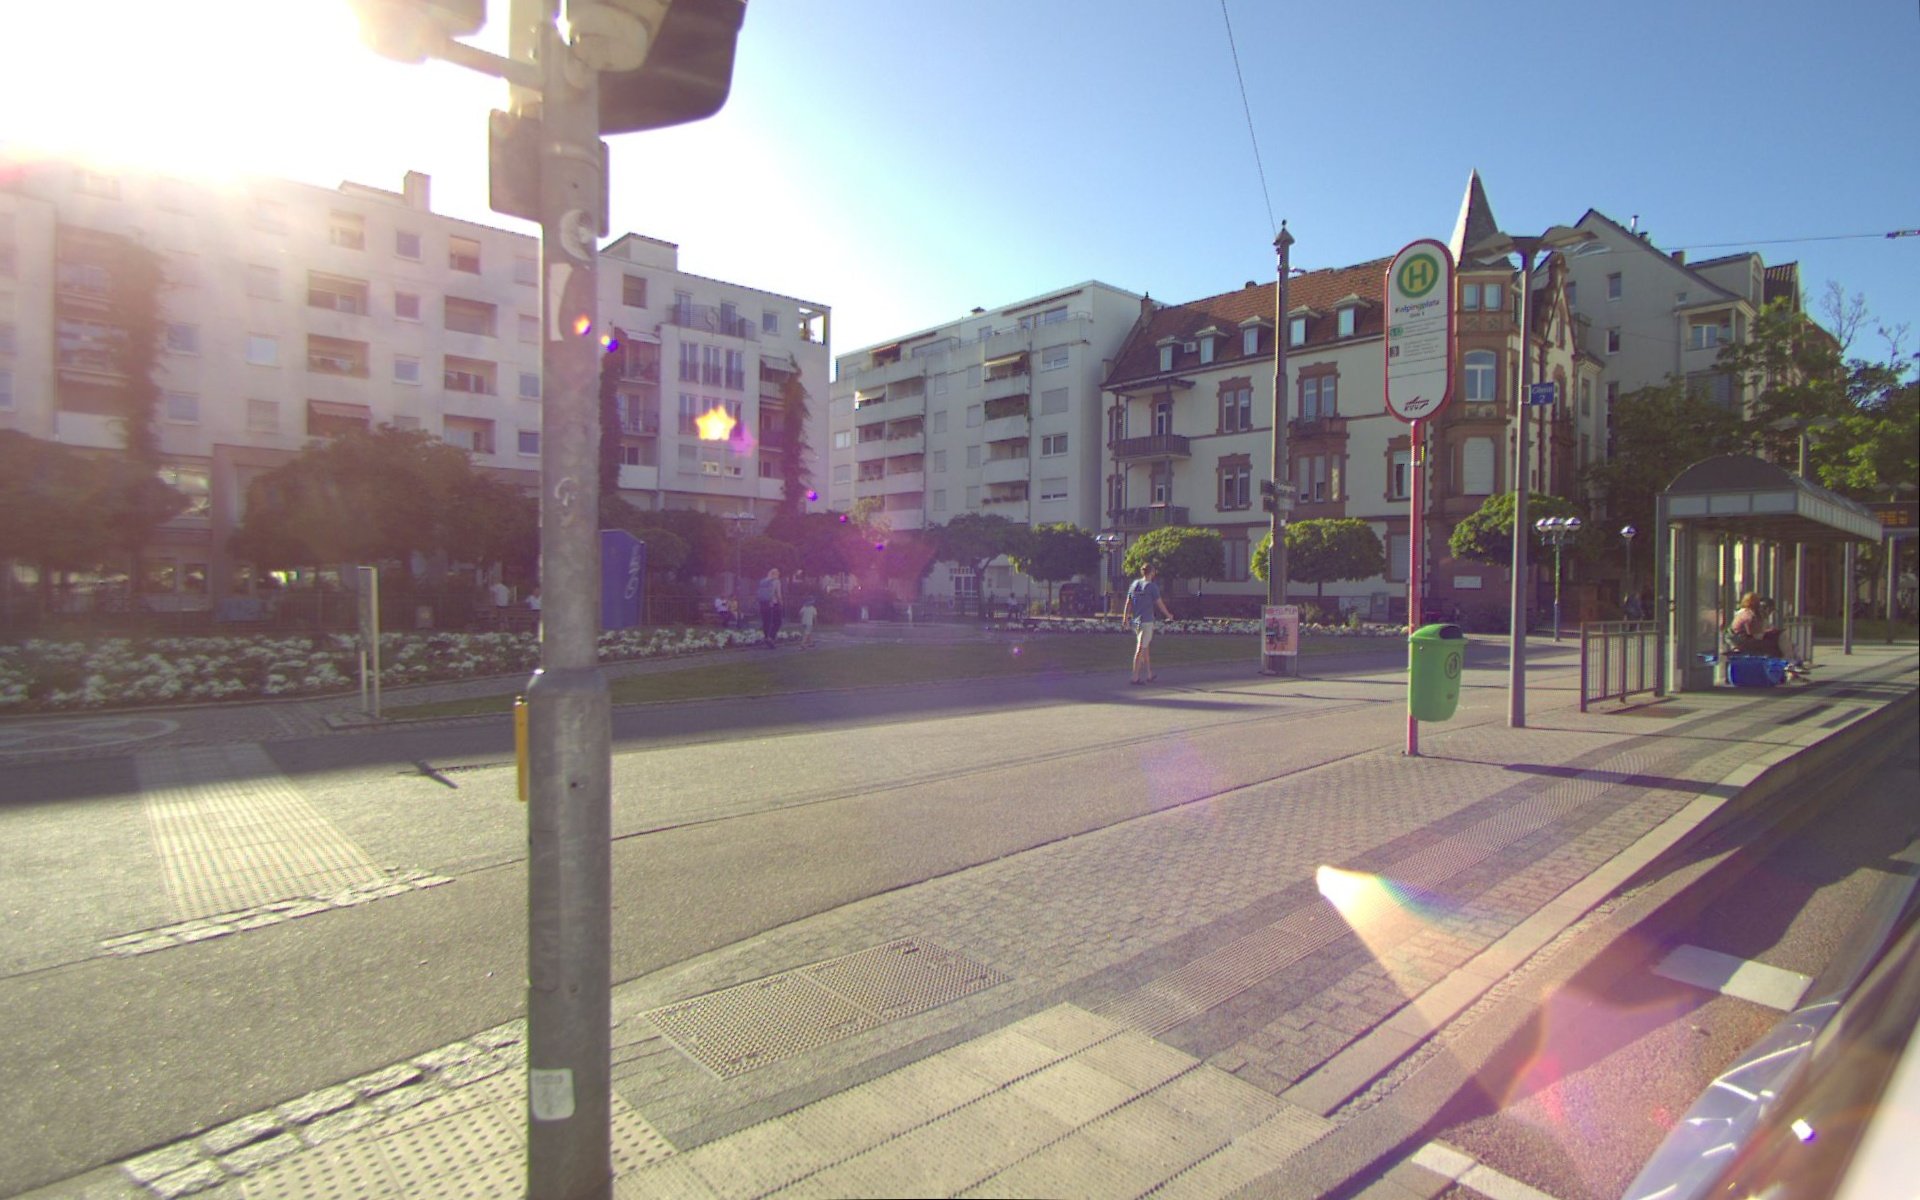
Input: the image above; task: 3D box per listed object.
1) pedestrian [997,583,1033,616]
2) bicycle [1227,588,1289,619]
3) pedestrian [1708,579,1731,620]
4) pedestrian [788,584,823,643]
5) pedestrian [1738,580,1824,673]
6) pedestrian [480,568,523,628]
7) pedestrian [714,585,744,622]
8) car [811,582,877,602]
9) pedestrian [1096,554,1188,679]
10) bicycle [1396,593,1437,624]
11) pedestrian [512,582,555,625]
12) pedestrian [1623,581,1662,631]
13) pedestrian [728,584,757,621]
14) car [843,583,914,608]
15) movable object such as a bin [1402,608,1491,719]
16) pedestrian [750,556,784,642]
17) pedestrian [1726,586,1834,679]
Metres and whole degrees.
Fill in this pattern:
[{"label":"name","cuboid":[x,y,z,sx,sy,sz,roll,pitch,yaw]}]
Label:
[{"label":"pedestrian","cuboid":[2.422,-0.036,44.653,0.917,1.429,1.529,0,1,-30]},{"label":"bicycle","cuboid":[13.688,0.141,46.447,2.854,1.389,0.748,0,0,-23]},{"label":"pedestrian","cuboid":[32.859,-0.026,43.784,0.739,1.757,0.864,1,0,42]},{"label":"pedestrian","cuboid":[-3.177,0.275,20.840,0.547,1.183,0.471,-1,0,-32]},{"label":"pedestrian","cuboid":[12.405,0.395,15.299,0.612,1.351,0.860,0,-2,-41]},{"label":"pedestrian","cuboid":[-13.430,-0.072,29.662,1.018,1.746,0.668,1,0,29]},{"label":"pedestrian","cuboid":[-8.066,0.109,35.350,0.737,1.287,0.725,1,0,29]},{"label":"car","cuboid":[-7.761,-0.556,67.687,3.923,1.304,2.000,0,1,-35]},{"label":"pedestrian","cuboid":[2.908,0.235,16.130,1.110,1.901,0.982,-1,1,-43]},{"label":"bicycle","cuboid":[17.943,0.315,39.754,0.786,1.081,2.768,1,2,39]},{"label":"pedestrian","cuboid":[-13.068,0.109,31.031,1.032,1.287,0.725,1,0,29]},{"label":"pedestrian","cuboid":[23.434,0.191,34.746,1.063,1.689,0.944,1,0,37]},{"label":"pedestrian","cuboid":[-7.730,0.093,35.992,0.737,1.287,0.725,1,0,29]},{"label":"car","cuboid":[-5.089,-0.304,63.336,3.923,1.536,2.000,0,1,-35]},{"label":"movable object such as a bin","cuboid":[3.712,0.470,7.728,0.480,0.796,0.450,0,1,-38]},{"label":"pedestrian","cuboid":[-4.018,-0.020,21.033,0.516,1.767,0.560,0,0,-30]},{"label":"pedestrian","cuboid":[11.512,0.440,14.217,0.907,1.241,1.000,-1,-2,-41]}]
